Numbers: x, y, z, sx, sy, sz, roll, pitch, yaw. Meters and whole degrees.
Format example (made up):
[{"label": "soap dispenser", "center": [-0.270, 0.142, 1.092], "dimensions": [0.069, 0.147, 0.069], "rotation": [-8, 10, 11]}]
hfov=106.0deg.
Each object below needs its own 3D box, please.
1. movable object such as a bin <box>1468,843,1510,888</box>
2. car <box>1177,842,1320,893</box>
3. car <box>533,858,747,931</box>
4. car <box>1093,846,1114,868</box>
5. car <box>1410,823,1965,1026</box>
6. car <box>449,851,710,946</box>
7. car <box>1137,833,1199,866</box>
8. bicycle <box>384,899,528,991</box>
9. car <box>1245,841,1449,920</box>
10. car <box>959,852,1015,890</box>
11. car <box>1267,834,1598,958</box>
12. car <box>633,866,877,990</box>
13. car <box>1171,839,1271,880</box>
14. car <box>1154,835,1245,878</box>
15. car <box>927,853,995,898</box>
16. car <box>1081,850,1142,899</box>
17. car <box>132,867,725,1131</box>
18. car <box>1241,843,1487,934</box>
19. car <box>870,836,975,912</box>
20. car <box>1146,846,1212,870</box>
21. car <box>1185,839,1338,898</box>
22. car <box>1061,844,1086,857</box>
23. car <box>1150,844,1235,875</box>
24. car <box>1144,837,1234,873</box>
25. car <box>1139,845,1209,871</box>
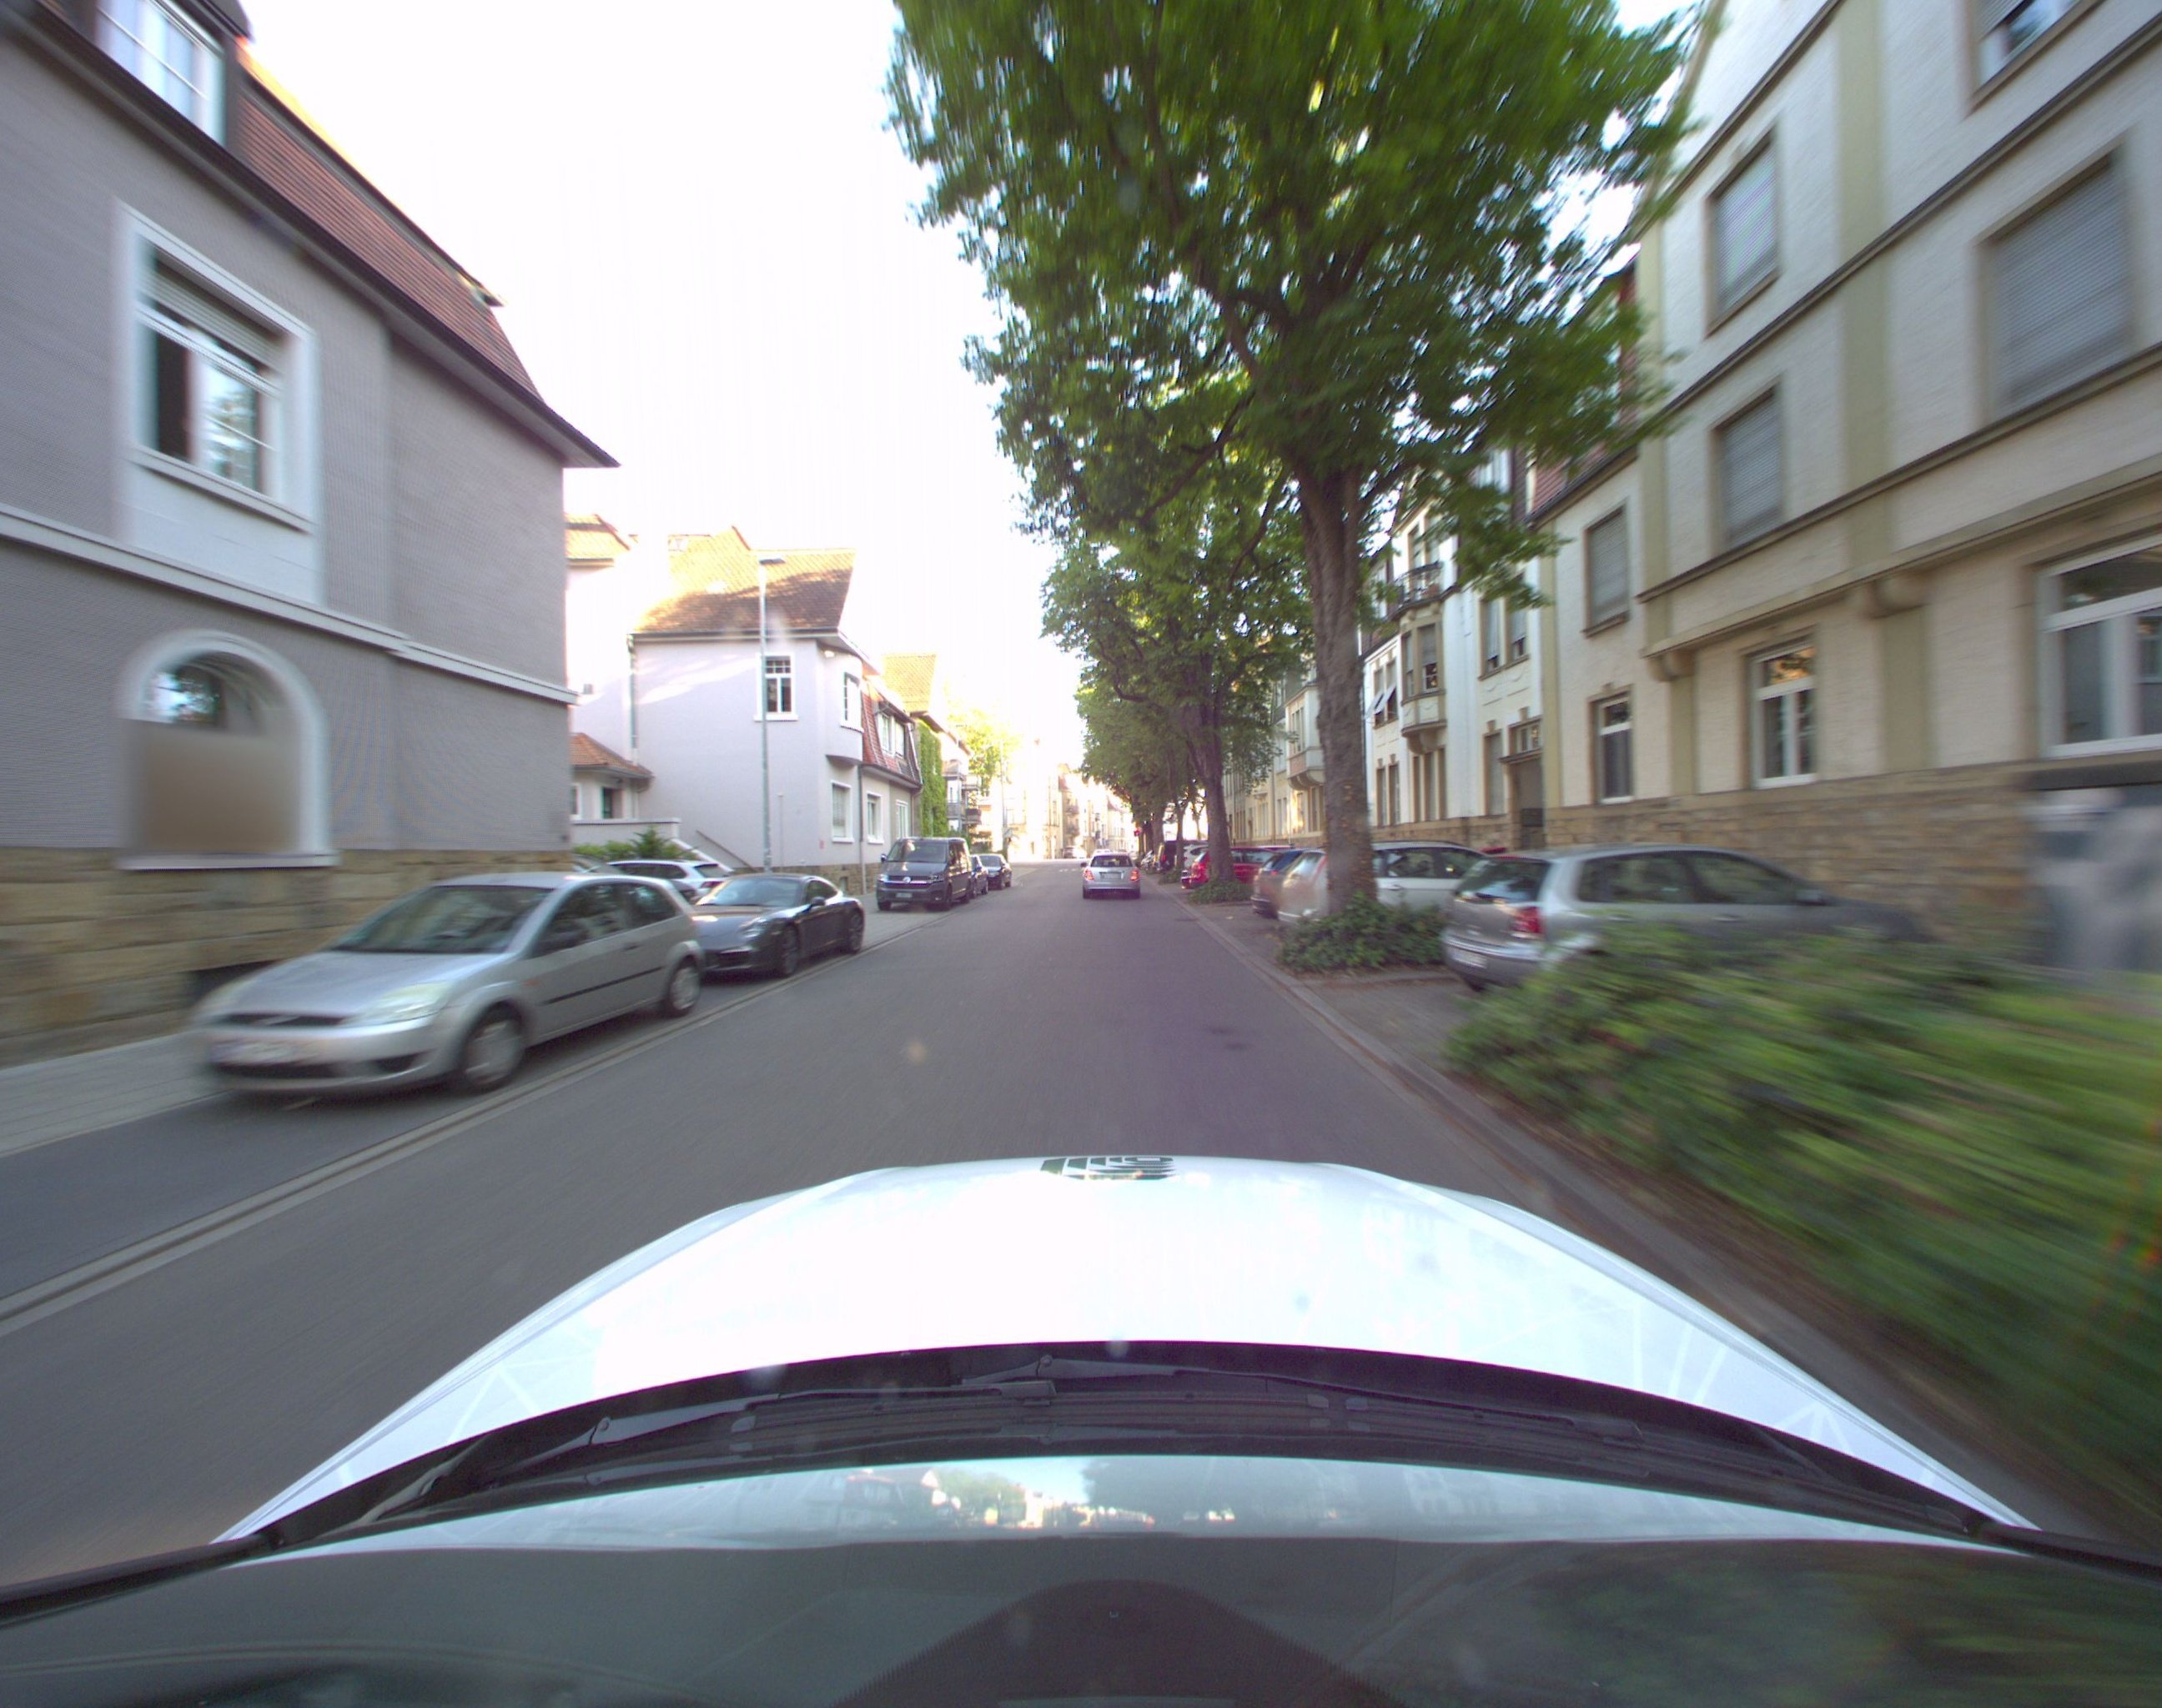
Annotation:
[{"label": "movable object such as a bin", "center": [9.996, 0.273, 19.964], "dimensions": [0.697, 1.049, 0.541], "rotation": [-5, 1, 1]}, {"label": "car", "center": [5.470, 0.429, 27.096], "dimensions": [4.392, 1.419, 1.879], "rotation": [-3, 0, 4]}, {"label": "car", "center": [-9.811, 0.876, 18.351], "dimensions": [3.853, 1.443, 1.634], "rotation": [-1, 1, -3]}, {"label": "car", "center": [1.811, 0.217, 64.644], "dimensions": [1.617, 1.569, 3.683], "rotation": [-1, 1, 3]}, {"label": "car", "center": [5.243, 0.543, 7.389], "dimensions": [3.784, 1.437, 1.747], "rotation": [-3, 0, -3]}, {"label": "car", "center": [-9.637, 0.814, 15.923], "dimensions": [3.853, 1.621, 1.896], "rotation": [-1, 1, -3]}, {"label": "car", "center": [6.511, -0.368, 61.076], "dimensions": [4.375, 2.364, 1.999], "rotation": [-1, 1, -1]}, {"label": "bicycle", "center": [-7.780, 1.094, 10.232], "dimensions": [0.392, 0.937, 1.723], "rotation": [-2, 1, 2]}, {"label": "car", "center": [5.476, 0.530, 17.090], "dimensions": [3.777, 1.483, 1.562], "rotation": [-1, 0, 3]}, {"label": "car", "center": [-3.867, 0.649, 34.221], "dimensions": [1.688, 1.447, 4.360], "rotation": [0, 1, 2]}, {"label": "car", "center": [5.026, 0.552, 11.969], "dimensions": [4.138, 1.576, 1.710], "rotation": [-1, 0, -4]}, {"label": "car", "center": [-4.407, 0.914, 11.772], "dimensions": [1.524, 1.318, 4.232], "rotation": [-1, 1, 4]}, {"label": "car", "center": [6.158, 0.238, 36.226], "dimensions": [4.095, 1.571, 1.878], "rotation": [-3, 0, 1]}, {"label": "car", "center": [5.908, 0.121, 40.978], "dimensions": [4.207, 1.896, 1.905], "rotation": [-3, 0, -1]}, {"label": "car", "center": [-4.204, 0.704, 29.063], "dimensions": [1.647, 1.447, 4.240], "rotation": [0, 1, 2]}, {"label": "car", "center": [0.984, 0.596, 25.953], "dimensions": [1.777, 1.437, 3.853], "rotation": [0, 0, 2]}, {"label": "car", "center": [-4.760, 0.895, 6.835], "dimensions": [1.647, 1.445, 3.963], "rotation": [0, 1, 2]}, {"label": "car", "center": [4.933, 0.580, 14.576], "dimensions": [3.779, 1.438, 1.818], "rotation": [-1, 0, 1]}, {"label": "car", "center": [-4.373, 0.478, 23.292], "dimensions": [1.975, 1.947, 4.852], "rotation": [0, 1, 1]}, {"label": "car", "center": [6.642, 0.268, 55.574], "dimensions": [4.275, 1.541, 1.898], "rotation": [-1, 1, -1]}, {"label": "car", "center": [5.307, 0.419, 24.385], "dimensions": [4.171, 1.475, 1.854], "rotation": [-3, 0, 4]}, {"label": "car", "center": [-0.928, -0.491, 103.175], "dimensions": [1.978, 1.585, 4.019], "rotation": [-1, 1, 17]}, {"label": "car", "center": [5.927, 0.284, 43.693], "dimensions": [4.275, 1.541, 1.876], "rotation": [-1, 1, -1]}, {"label": "car", "center": [6.325, 0.019, 48.233], "dimensions": [5.038, 1.989, 2.071], "rotation": [-1, 1, -1]}, {"label": "car", "center": [6.038, 0.255, 53.171], "dimensions": [4.275, 1.417, 1.876], "rotation": [-3, 1, -1]}]
